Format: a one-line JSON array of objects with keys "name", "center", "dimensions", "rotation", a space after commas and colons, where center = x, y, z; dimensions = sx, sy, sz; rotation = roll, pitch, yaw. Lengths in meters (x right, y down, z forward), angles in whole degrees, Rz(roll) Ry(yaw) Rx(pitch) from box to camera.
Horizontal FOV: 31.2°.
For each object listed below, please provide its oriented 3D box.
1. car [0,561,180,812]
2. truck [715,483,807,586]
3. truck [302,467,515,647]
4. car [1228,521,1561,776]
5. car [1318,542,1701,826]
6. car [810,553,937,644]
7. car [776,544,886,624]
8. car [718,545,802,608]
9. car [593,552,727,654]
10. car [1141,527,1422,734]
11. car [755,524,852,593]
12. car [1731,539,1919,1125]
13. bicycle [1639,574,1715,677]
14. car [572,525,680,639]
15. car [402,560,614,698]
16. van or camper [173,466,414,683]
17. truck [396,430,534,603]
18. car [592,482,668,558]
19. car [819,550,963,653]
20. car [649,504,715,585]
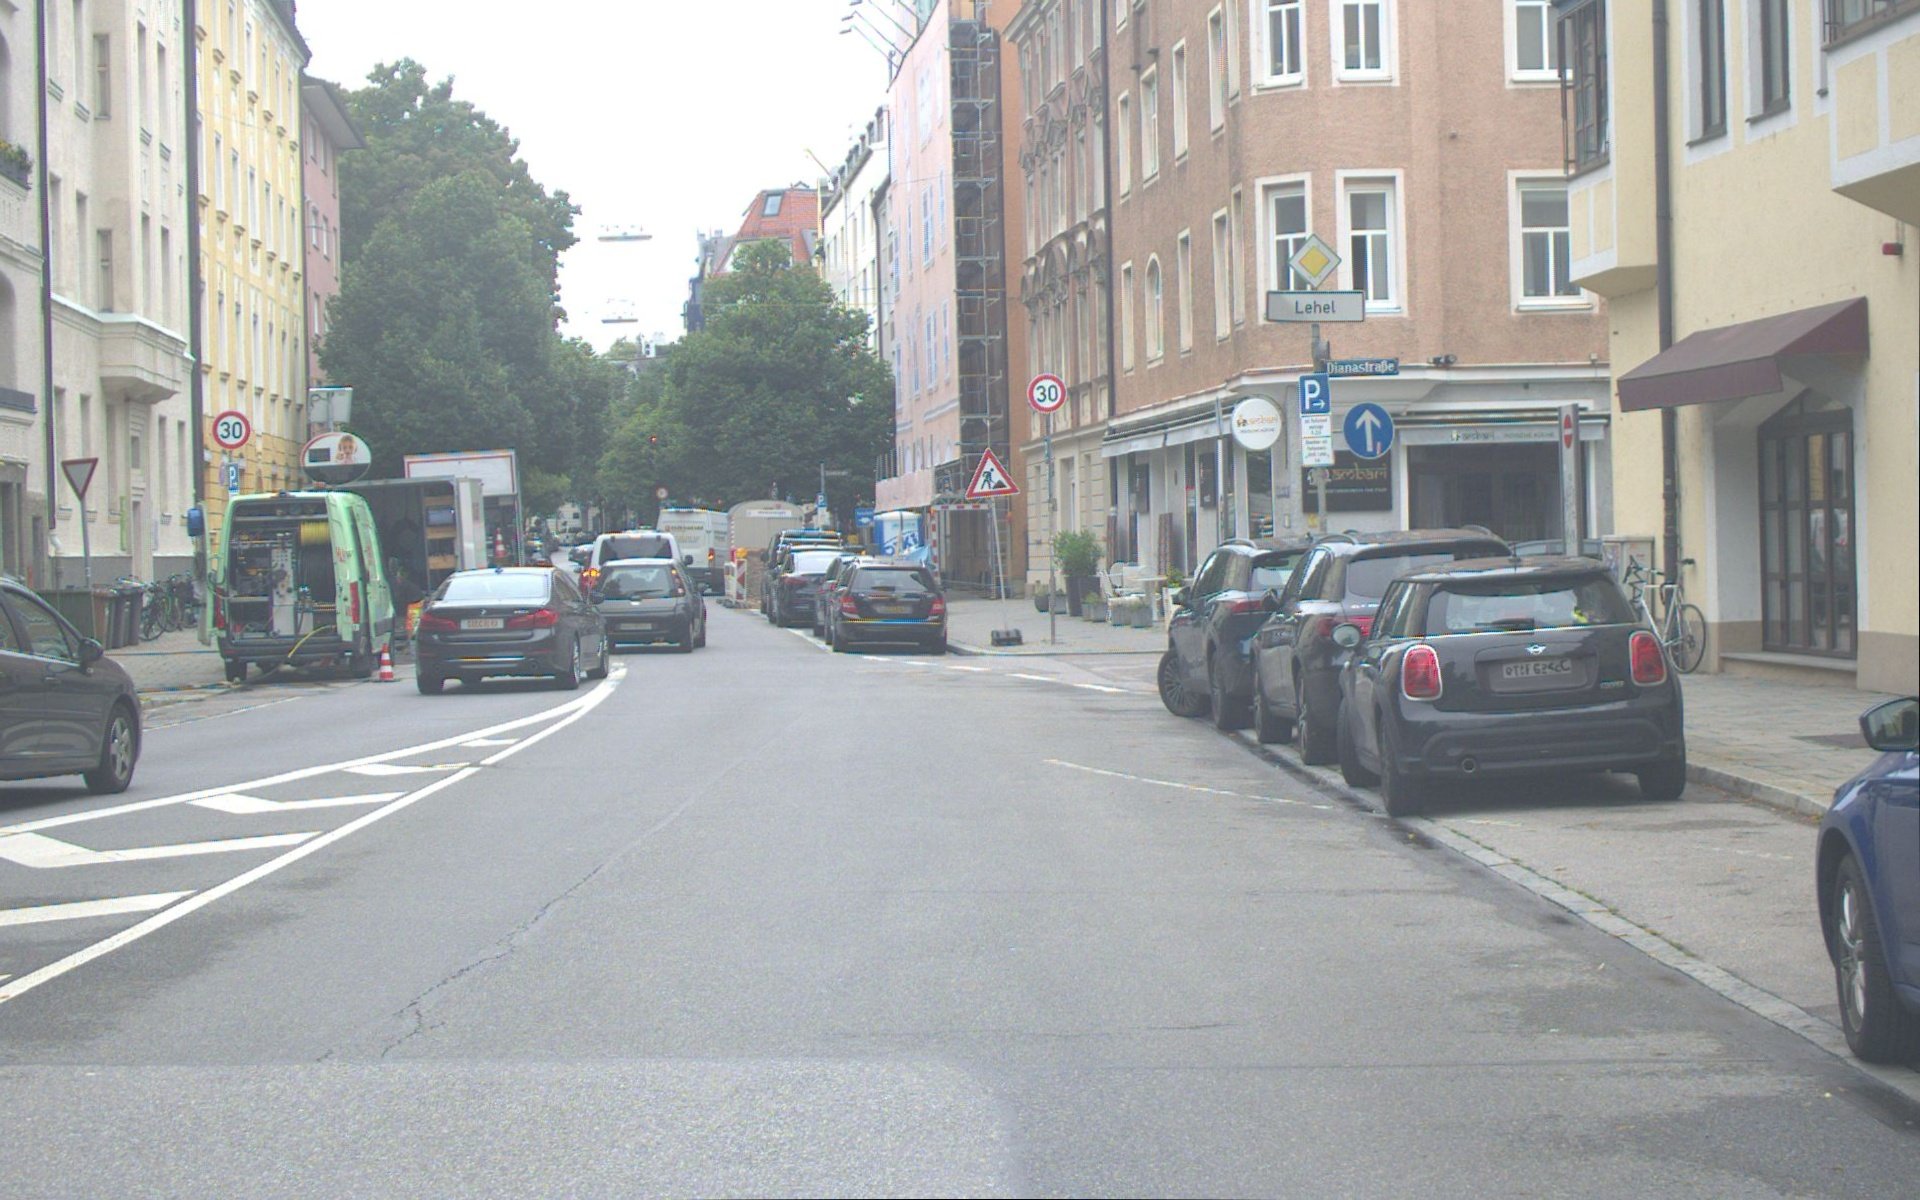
[{"name": "car", "center": [-6.414, 0.516, 21.440], "dimensions": [1.759, 1.456, 4.073], "rotation": [-1, 1, 6]}, {"name": "truck", "center": [-5.959, -1.939, 102.428], "dimensions": [2.491, 2.963, 5.329], "rotation": [-1, 1, -5]}, {"name": "truck", "center": [-9.381, -0.809, 59.161], "dimensions": [2.773, 2.863, 7.203], "rotation": [-1, 2, -3]}, {"name": "car", "center": [3.167, 0.296, 25.934], "dimensions": [1.756, 1.673, 4.707], "rotation": [-3, 1, -1]}, {"name": "car", "center": [3.235, 0.435, 20.917], "dimensions": [1.756, 1.491, 3.823], "rotation": [-2, 1, 2]}, {"name": "car", "center": [-1.558, -0.053, 60.336], "dimensions": [1.844, 1.424, 4.141], "rotation": [2, 2, -6]}, {"name": "car", "center": [-2.614, -0.345, 68.799], "dimensions": [1.844, 1.424, 4.307], "rotation": [2, 2, -6]}, {"name": "car", "center": [-5.051, -0.611, 86.295], "dimensions": [1.990, 1.424, 4.141], "rotation": [-1, 2, -4]}, {"name": "car", "center": [-4.699, 0.012, 54.090], "dimensions": [1.990, 1.424, 4.141], "rotation": [-1, 2, -4]}, {"name": "car", "center": [2.851, 0.227, 31.416], "dimensions": [1.818, 1.673, 4.511], "rotation": [-3, 1, -3]}, {"name": "car", "center": [-3.515, -0.950, 76.506], "dimensions": [1.990, 1.424, 4.141], "rotation": [-1, 2, -4]}, {"name": "car", "center": [3.332, 0.581, 8.414], "dimensions": [1.756, 1.491, 4.488], "rotation": [-3, 1, -1]}, {"name": "bicycle", "center": [7.026, 0.236, 33.740], "dimensions": [0.271, 0.974, 1.685], "rotation": [0, 1, -4]}, {"name": "car", "center": [-6.519, -0.387, 67.445], "dimensions": [1.990, 2.068, 4.141], "rotation": [-1, 2, -4]}, {"name": "car", "center": [-5.393, 0.302, 41.578], "dimensions": [1.990, 1.424, 4.906], "rotation": [-1, 2, -1]}, {"name": "van or camper", "center": [-9.323, -0.437, 48.687], "dimensions": [2.600, 2.830, 6.187], "rotation": [-1, 2, -4]}, {"name": "truck", "center": [-11.745, -1.975, 82.108], "dimensions": [3.012, 3.938, 6.997], "rotation": [-1, 1, -6]}, {"name": "car", "center": [-9.139, -2.200, 95.205], "dimensions": [1.993, 2.007, 4.001], "rotation": [-2, 1, -5]}, {"name": "car", "center": [-1.124, -0.004, 53.980], "dimensions": [1.844, 1.424, 4.184], "rotation": [2, 2, -6]}, {"name": "car", "center": [-8.651, -1.736, 107.291], "dimensions": [1.939, 2.472, 4.783], "rotation": [-1, 1, -3]}]
